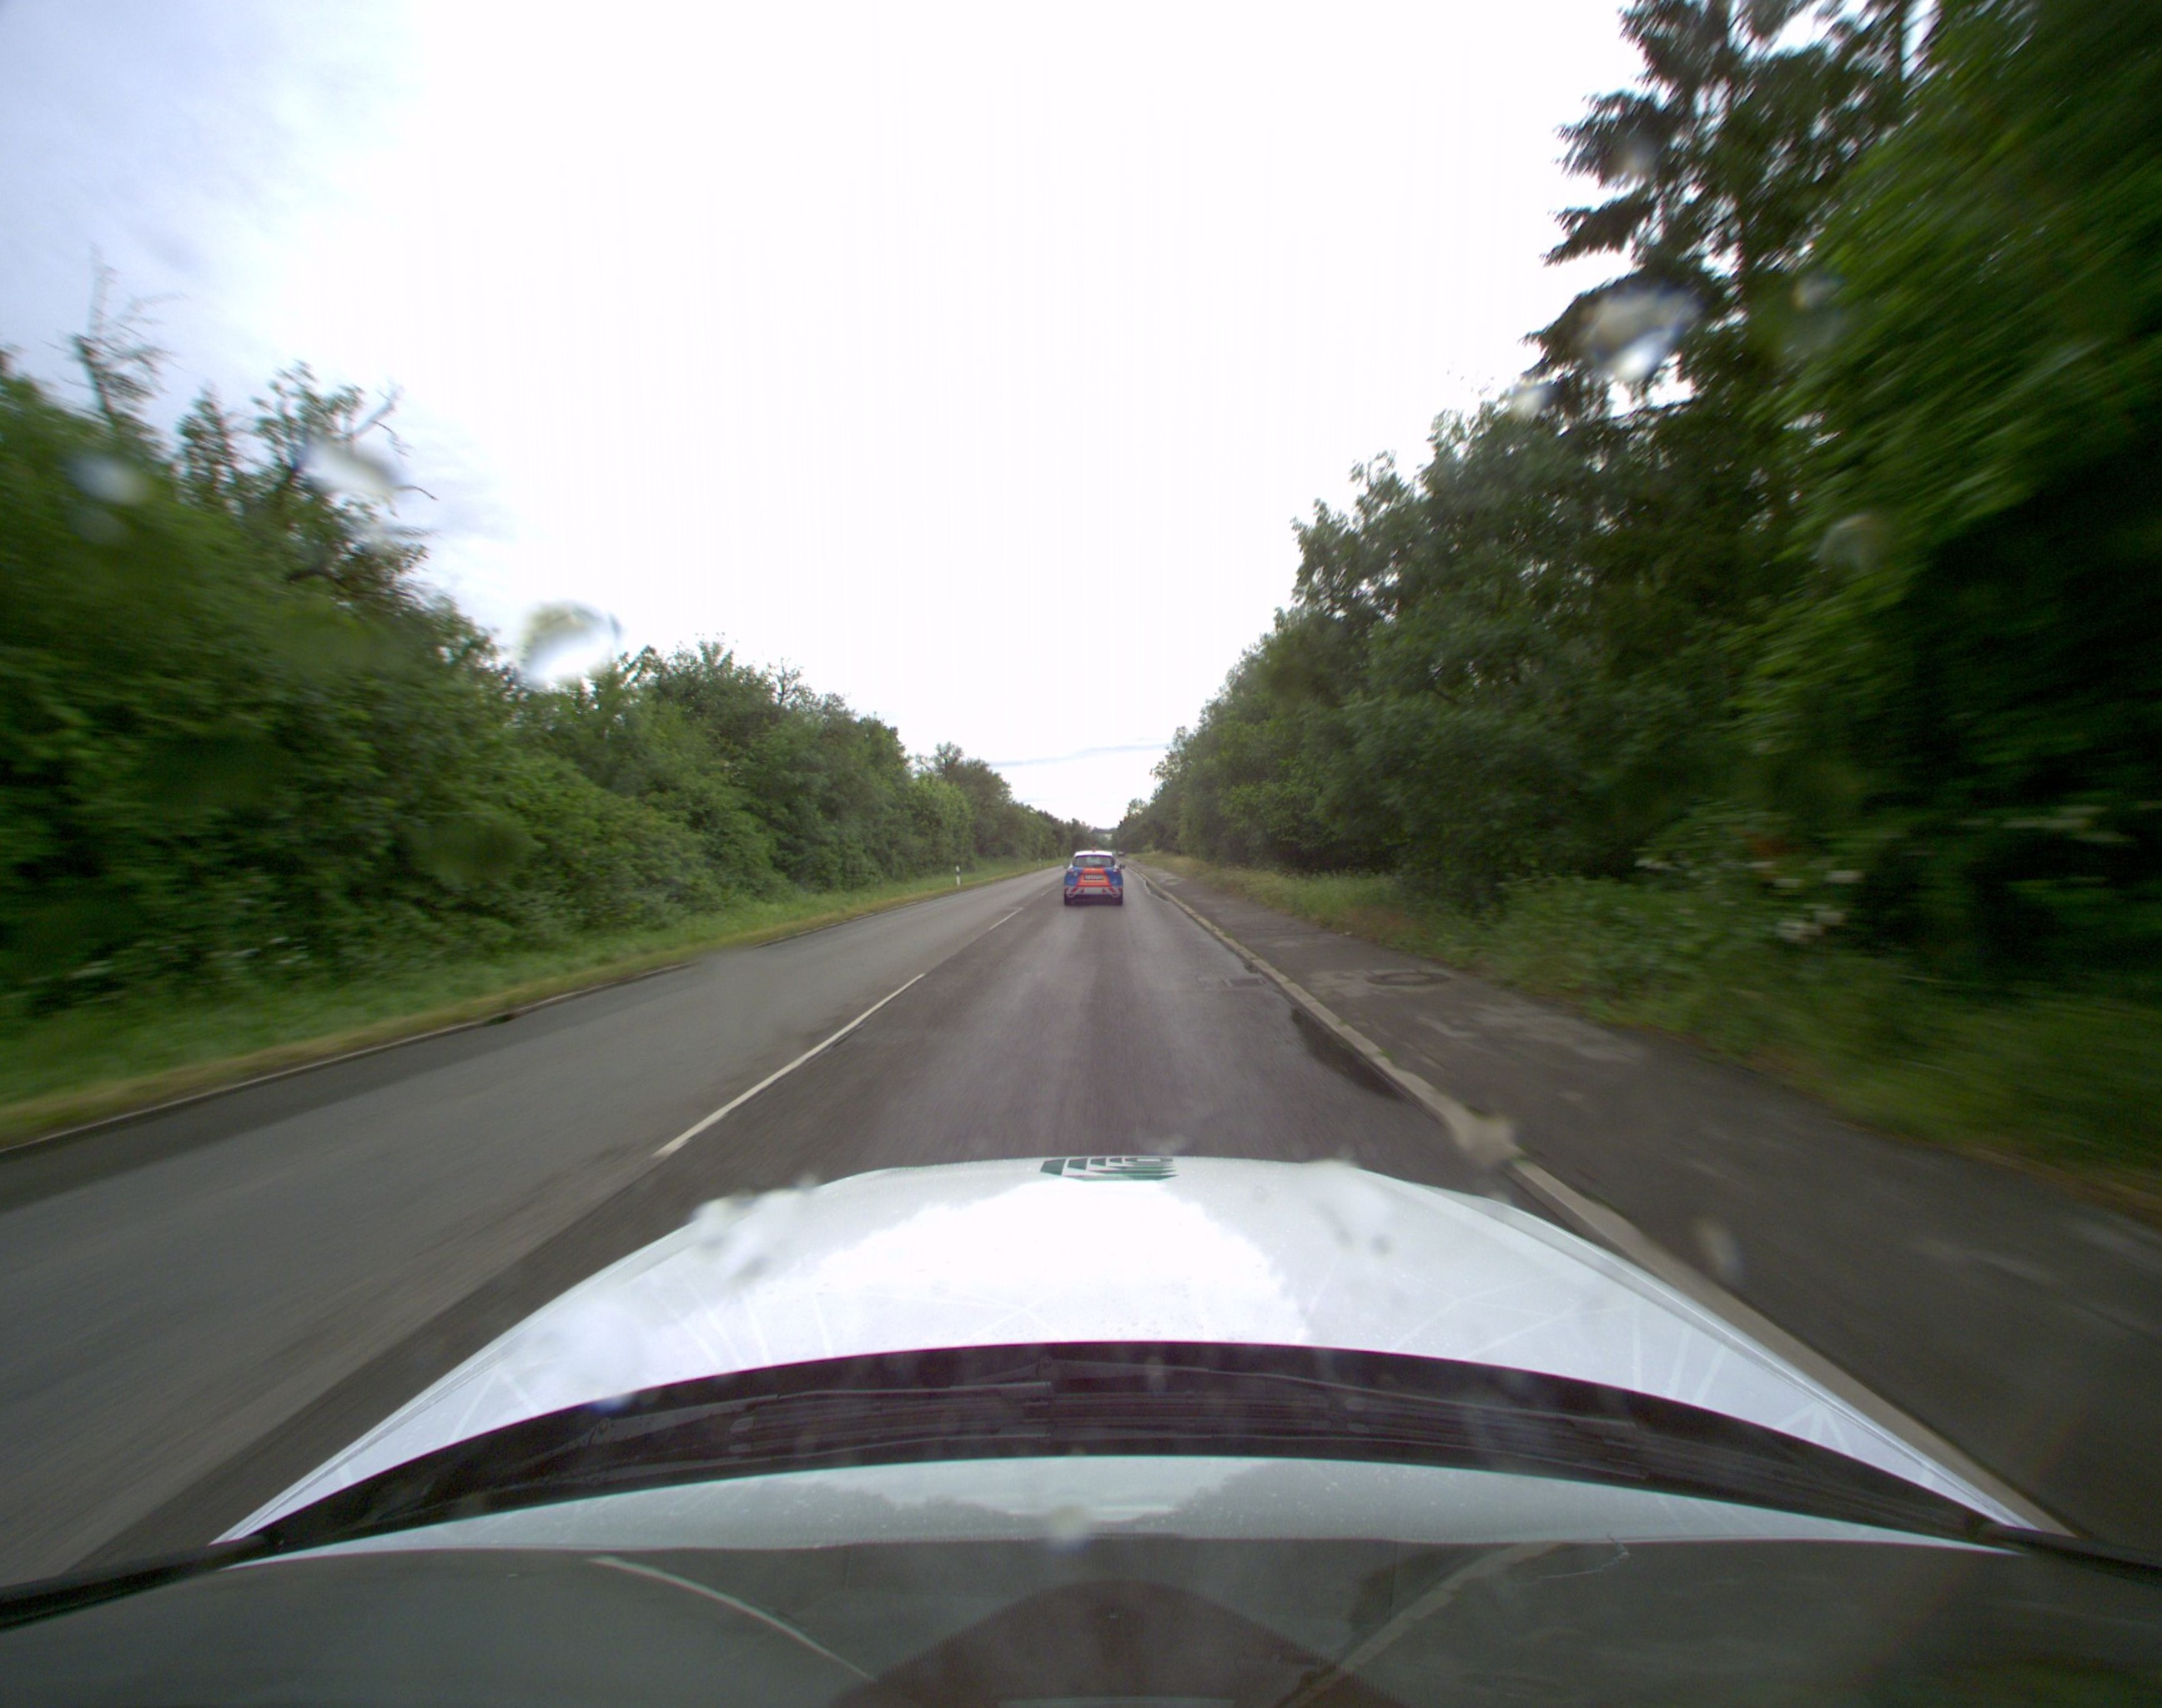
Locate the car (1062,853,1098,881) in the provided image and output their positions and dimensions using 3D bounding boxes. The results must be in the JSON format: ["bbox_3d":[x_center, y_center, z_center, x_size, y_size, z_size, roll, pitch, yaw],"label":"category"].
[{"bbox_3d":[-0.009,0.649,41.858,1.592,1.287,3.478,-3,0,3],"label":"car"}]

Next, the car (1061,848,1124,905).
[{"bbox_3d":[0.377,0.620,24.646,1.745,1.555,3.794,-1,1,2],"label":"car"}]

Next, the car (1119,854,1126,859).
[{"bbox_3d":[12.281,0.724,240.535,1.985,1.376,4.003,-3,0,2],"label":"car"}]

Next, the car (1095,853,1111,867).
[{"bbox_3d":[2.811,0.757,104.233,1.934,1.723,4.066,-3,0,2],"label":"car"}]
